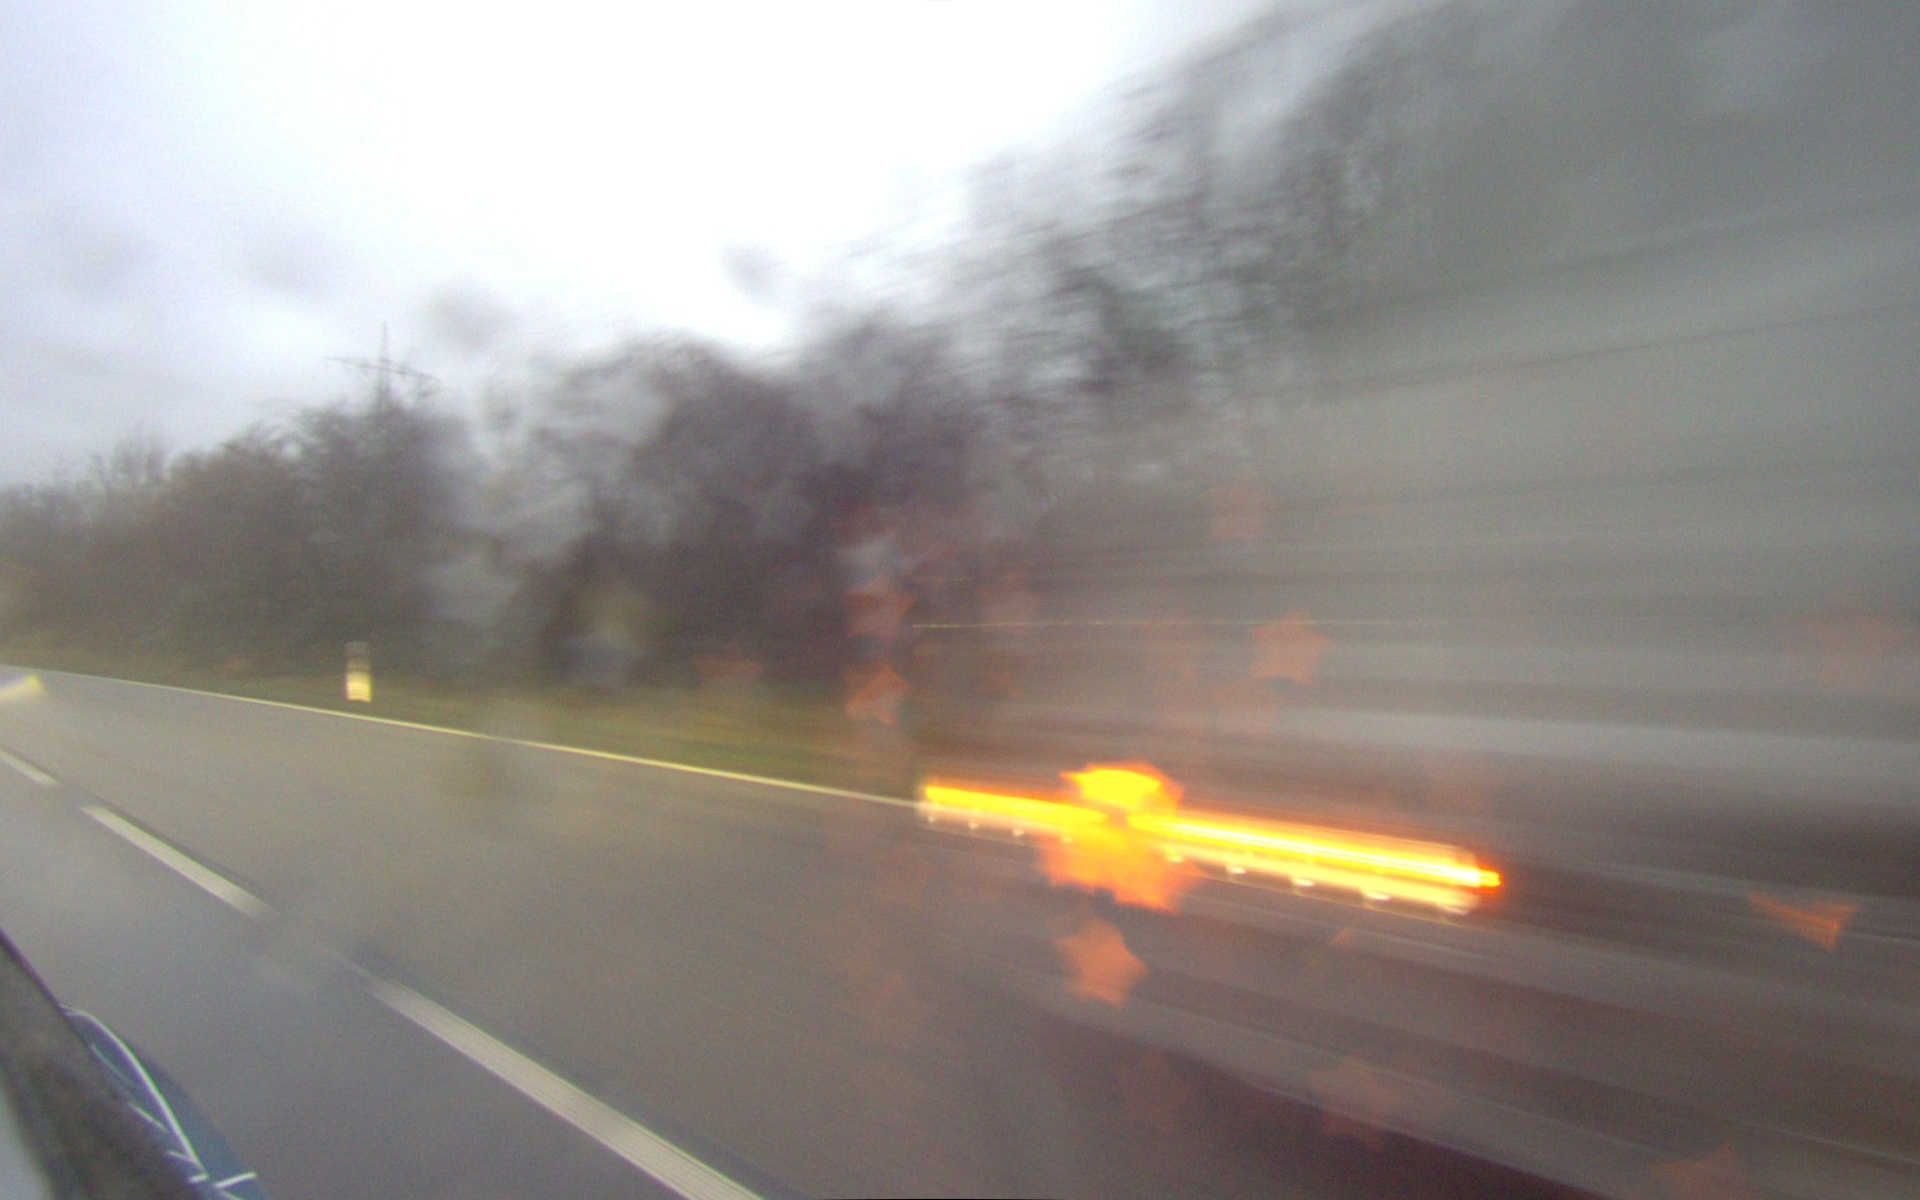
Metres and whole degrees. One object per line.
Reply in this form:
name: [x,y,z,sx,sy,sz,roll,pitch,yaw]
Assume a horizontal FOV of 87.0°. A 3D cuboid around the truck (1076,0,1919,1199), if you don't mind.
truck: [3.910,-0.721,1.430,7.197,4.158,2.769,-2,-2,42]
